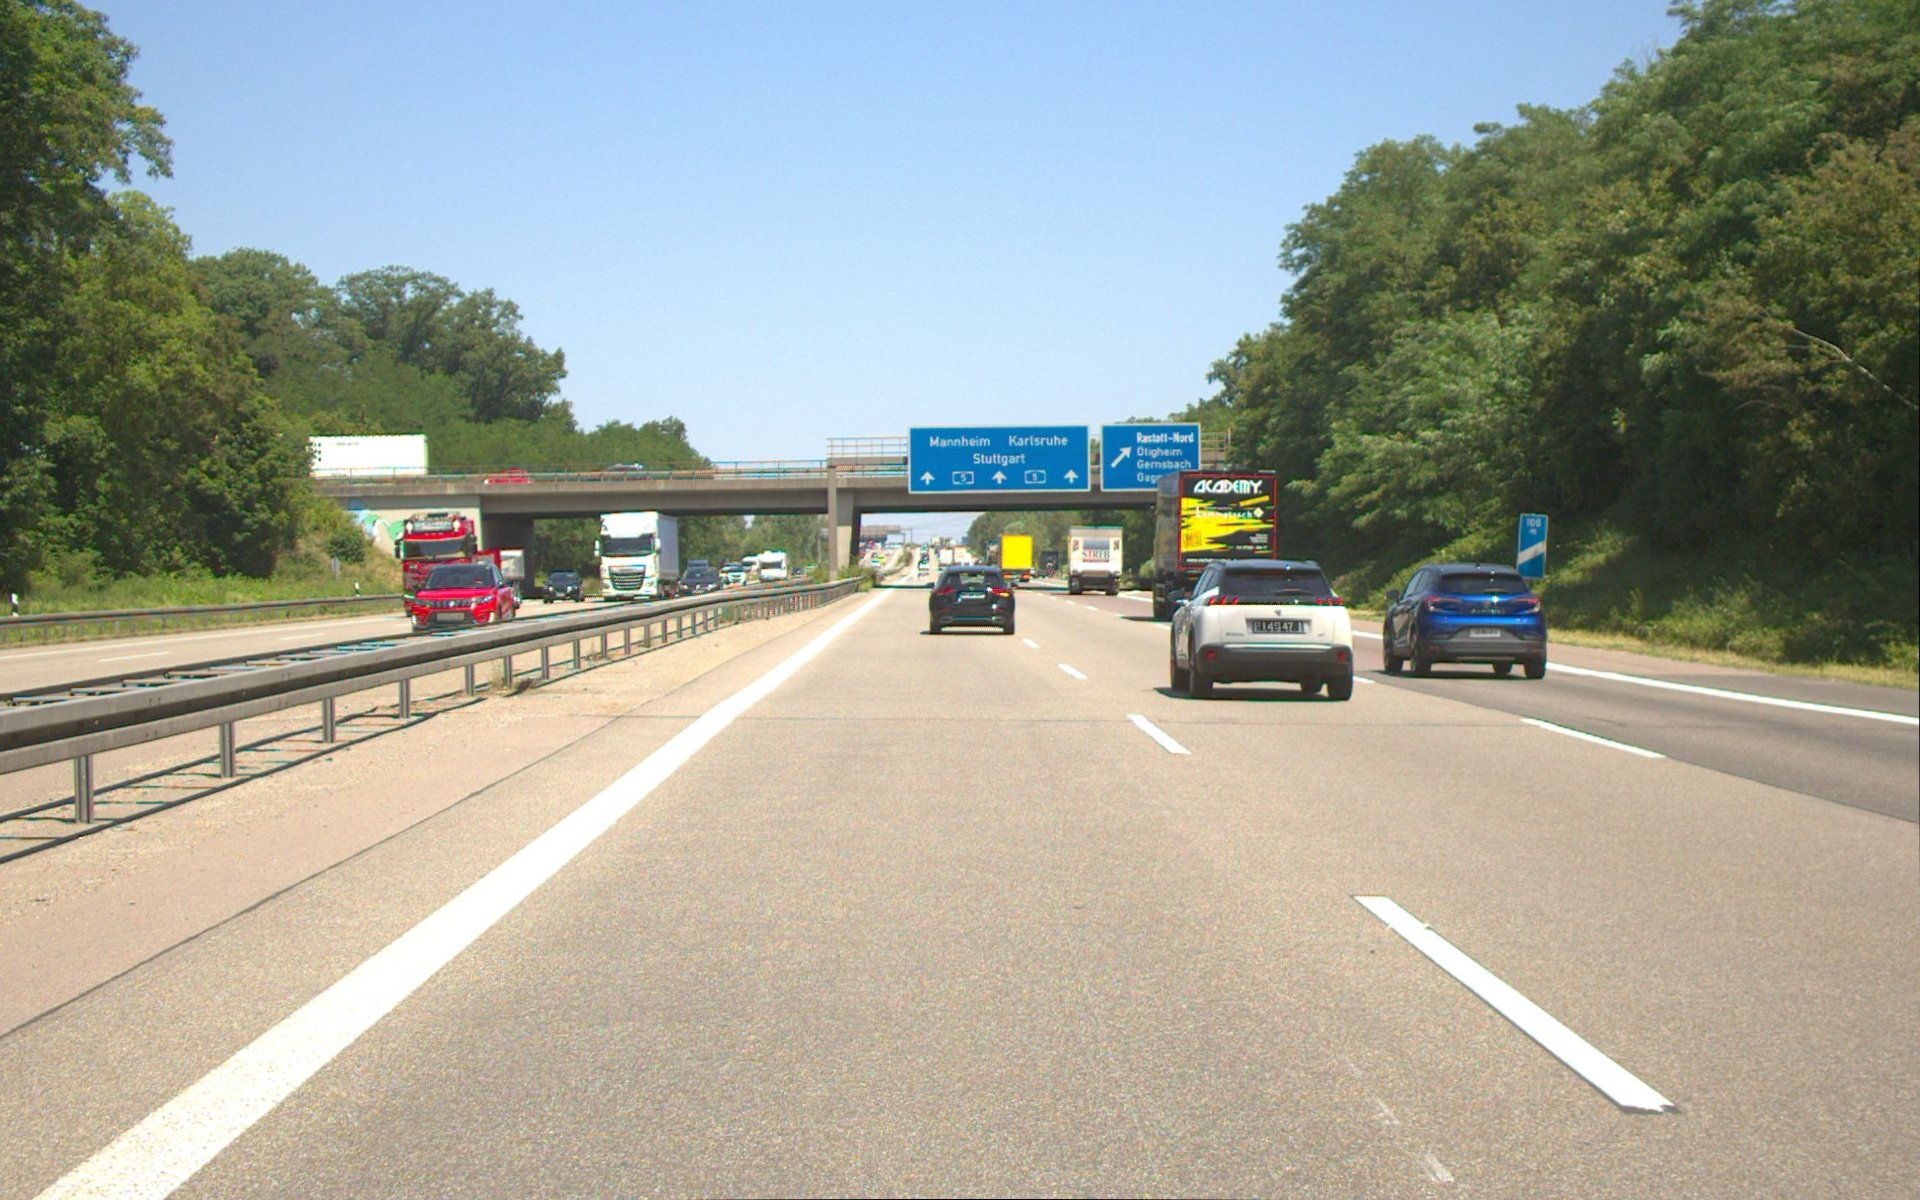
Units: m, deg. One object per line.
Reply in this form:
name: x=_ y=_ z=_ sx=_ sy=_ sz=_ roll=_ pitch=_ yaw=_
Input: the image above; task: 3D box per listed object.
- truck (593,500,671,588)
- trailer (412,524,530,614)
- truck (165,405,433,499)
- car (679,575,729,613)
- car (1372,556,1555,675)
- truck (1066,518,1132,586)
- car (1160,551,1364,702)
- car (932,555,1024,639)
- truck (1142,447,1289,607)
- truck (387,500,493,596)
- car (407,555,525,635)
truck: x=-15.208 y=-2.572 z=159.895 sx=2.986 sy=4.005 sz=6.041 roll=1 pitch=0 yaw=0
trailer: x=-19.248 y=-1.207 z=136.194 sx=2.779 sy=3.382 sz=13.290 roll=1 pitch=0 yaw=0
truck: x=-41.844 y=-9.352 z=218.301 sx=16.457 sy=5.546 sz=3.175 roll=1 pitch=0 yaw=-7
car: x=-10.973 y=-0.259 z=147.479 sx=1.807 sy=1.585 sz=4.669 roll=1 pitch=0 yaw=0
car: x=6.939 y=0.192 z=47.738 sx=1.870 sy=1.551 sz=4.201 roll=1 pitch=0 yaw=0
truck: x=7.084 y=-2.386 z=173.924 sx=3.028 sy=3.308 sz=10.769 roll=1 pitch=0 yaw=4
car: x=3.361 y=0.271 z=39.102 sx=1.827 sy=1.602 sz=4.809 roll=0 pitch=0 yaw=-1
car: x=0.360 y=-0.071 z=72.203 sx=1.827 sy=1.700 sz=4.000 roll=1 pitch=0 yaw=-1
truck: x=6.858 y=-1.903 z=93.881 sx=2.975 sy=4.023 sz=10.982 roll=2 pitch=0 yaw=-1
truck: x=-19.221 y=-1.894 z=127.435 sx=2.749 sy=3.382 sz=7.662 roll=1 pitch=0 yaw=0
car: x=-10.243 y=-0.121 z=71.518 sx=1.731 sy=1.579 sz=4.644 roll=1 pitch=0 yaw=0
